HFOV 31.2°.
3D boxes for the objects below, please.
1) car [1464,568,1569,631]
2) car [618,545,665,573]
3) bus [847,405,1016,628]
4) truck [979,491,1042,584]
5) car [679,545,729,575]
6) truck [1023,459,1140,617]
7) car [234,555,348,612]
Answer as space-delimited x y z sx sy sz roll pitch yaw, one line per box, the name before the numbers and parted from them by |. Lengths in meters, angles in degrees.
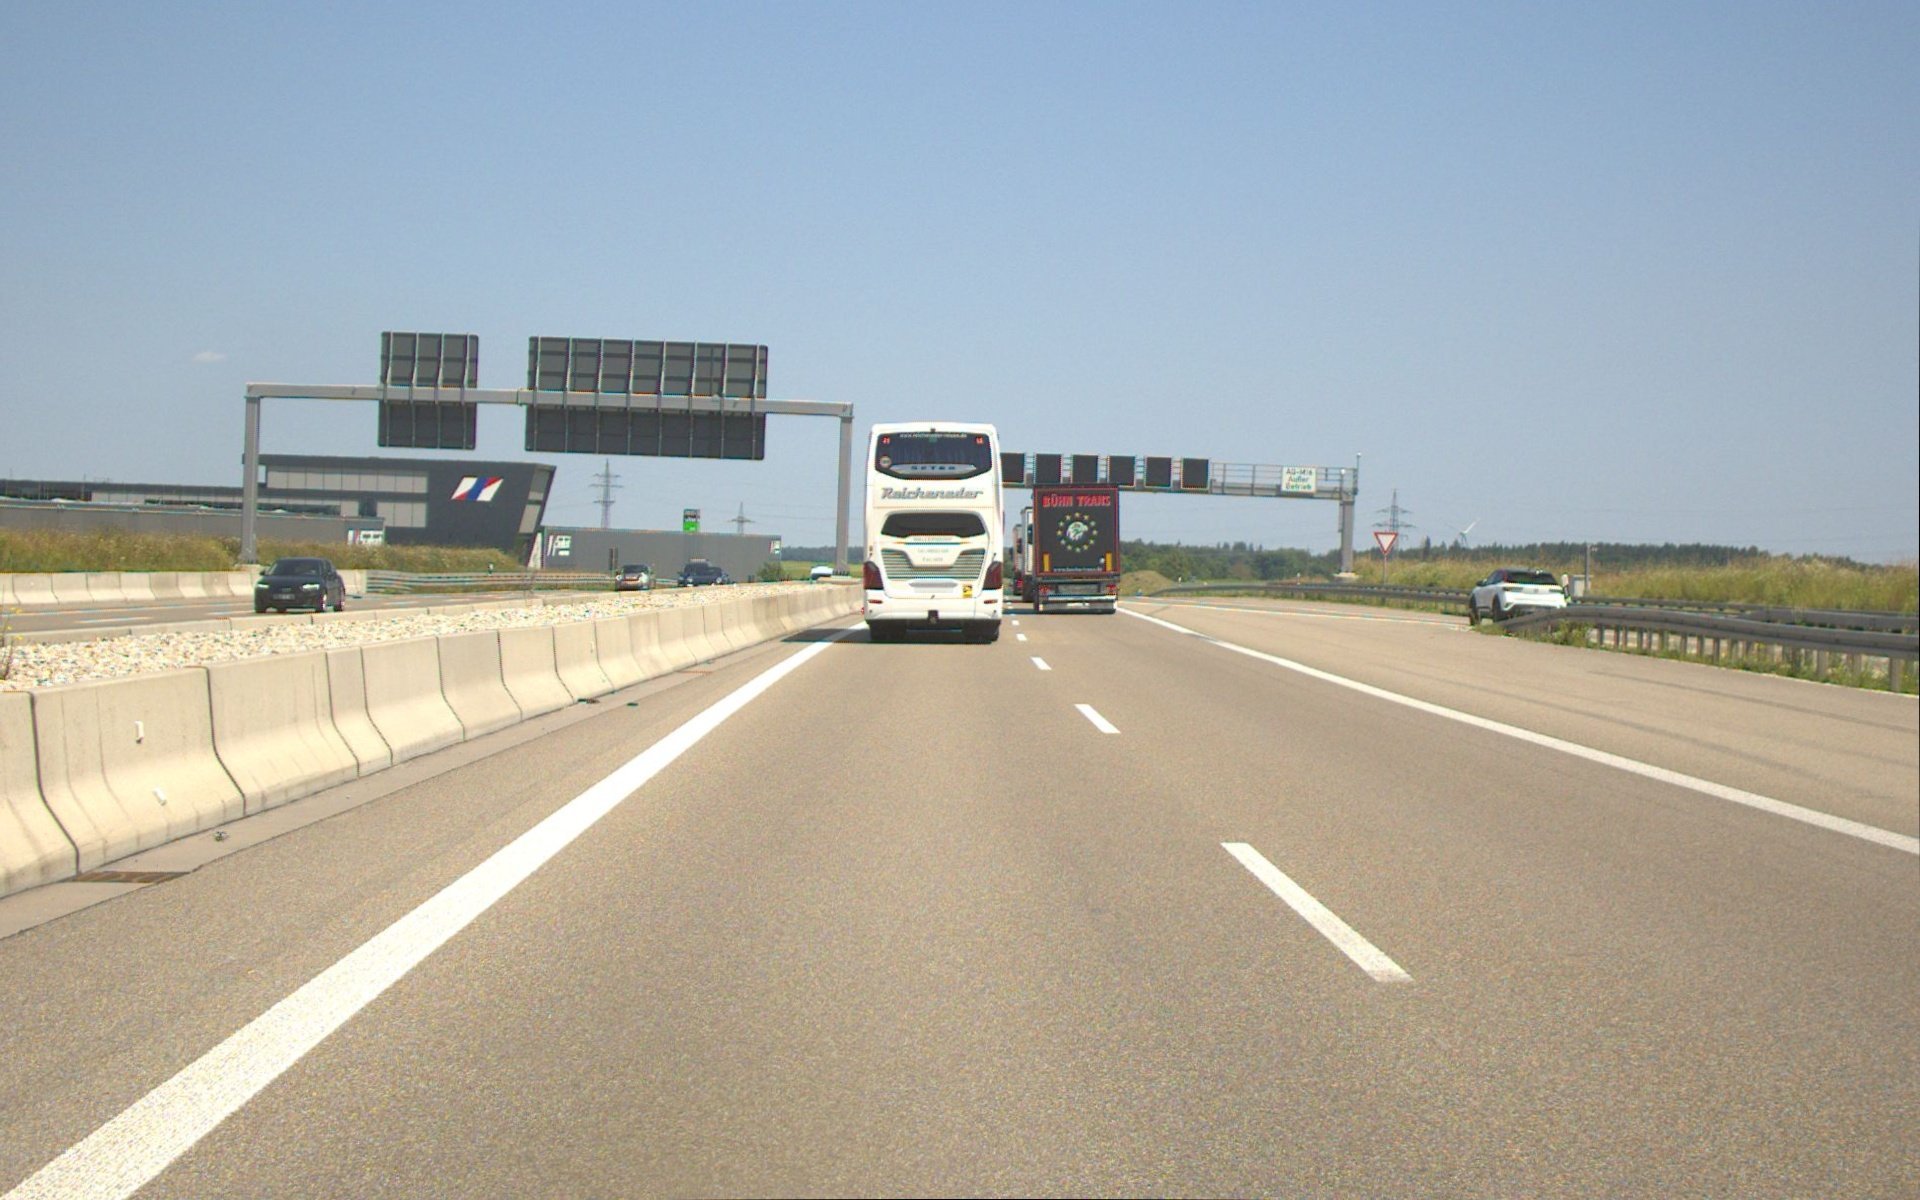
car | 14.326 -0.036 88.721 1.891 1.524 4.262 1 1 -1
car | -15.699 -2.019 169.486 1.891 1.324 3.986 1 1 1
bus | -0.612 -1.569 66.283 2.980 3.961 9.105 1 1 -1
truck | 2.091 -2.614 144.482 2.437 3.776 6.494 1 1 0
car | -12.170 -1.915 163.733 1.844 1.377 4.752 1 1 2
truck | 3.879 -1.833 109.455 3.380 4.449 13.565 1 -1 2
car | -16.970 -0.447 87.368 1.993 1.374 4.364 1 1 1
